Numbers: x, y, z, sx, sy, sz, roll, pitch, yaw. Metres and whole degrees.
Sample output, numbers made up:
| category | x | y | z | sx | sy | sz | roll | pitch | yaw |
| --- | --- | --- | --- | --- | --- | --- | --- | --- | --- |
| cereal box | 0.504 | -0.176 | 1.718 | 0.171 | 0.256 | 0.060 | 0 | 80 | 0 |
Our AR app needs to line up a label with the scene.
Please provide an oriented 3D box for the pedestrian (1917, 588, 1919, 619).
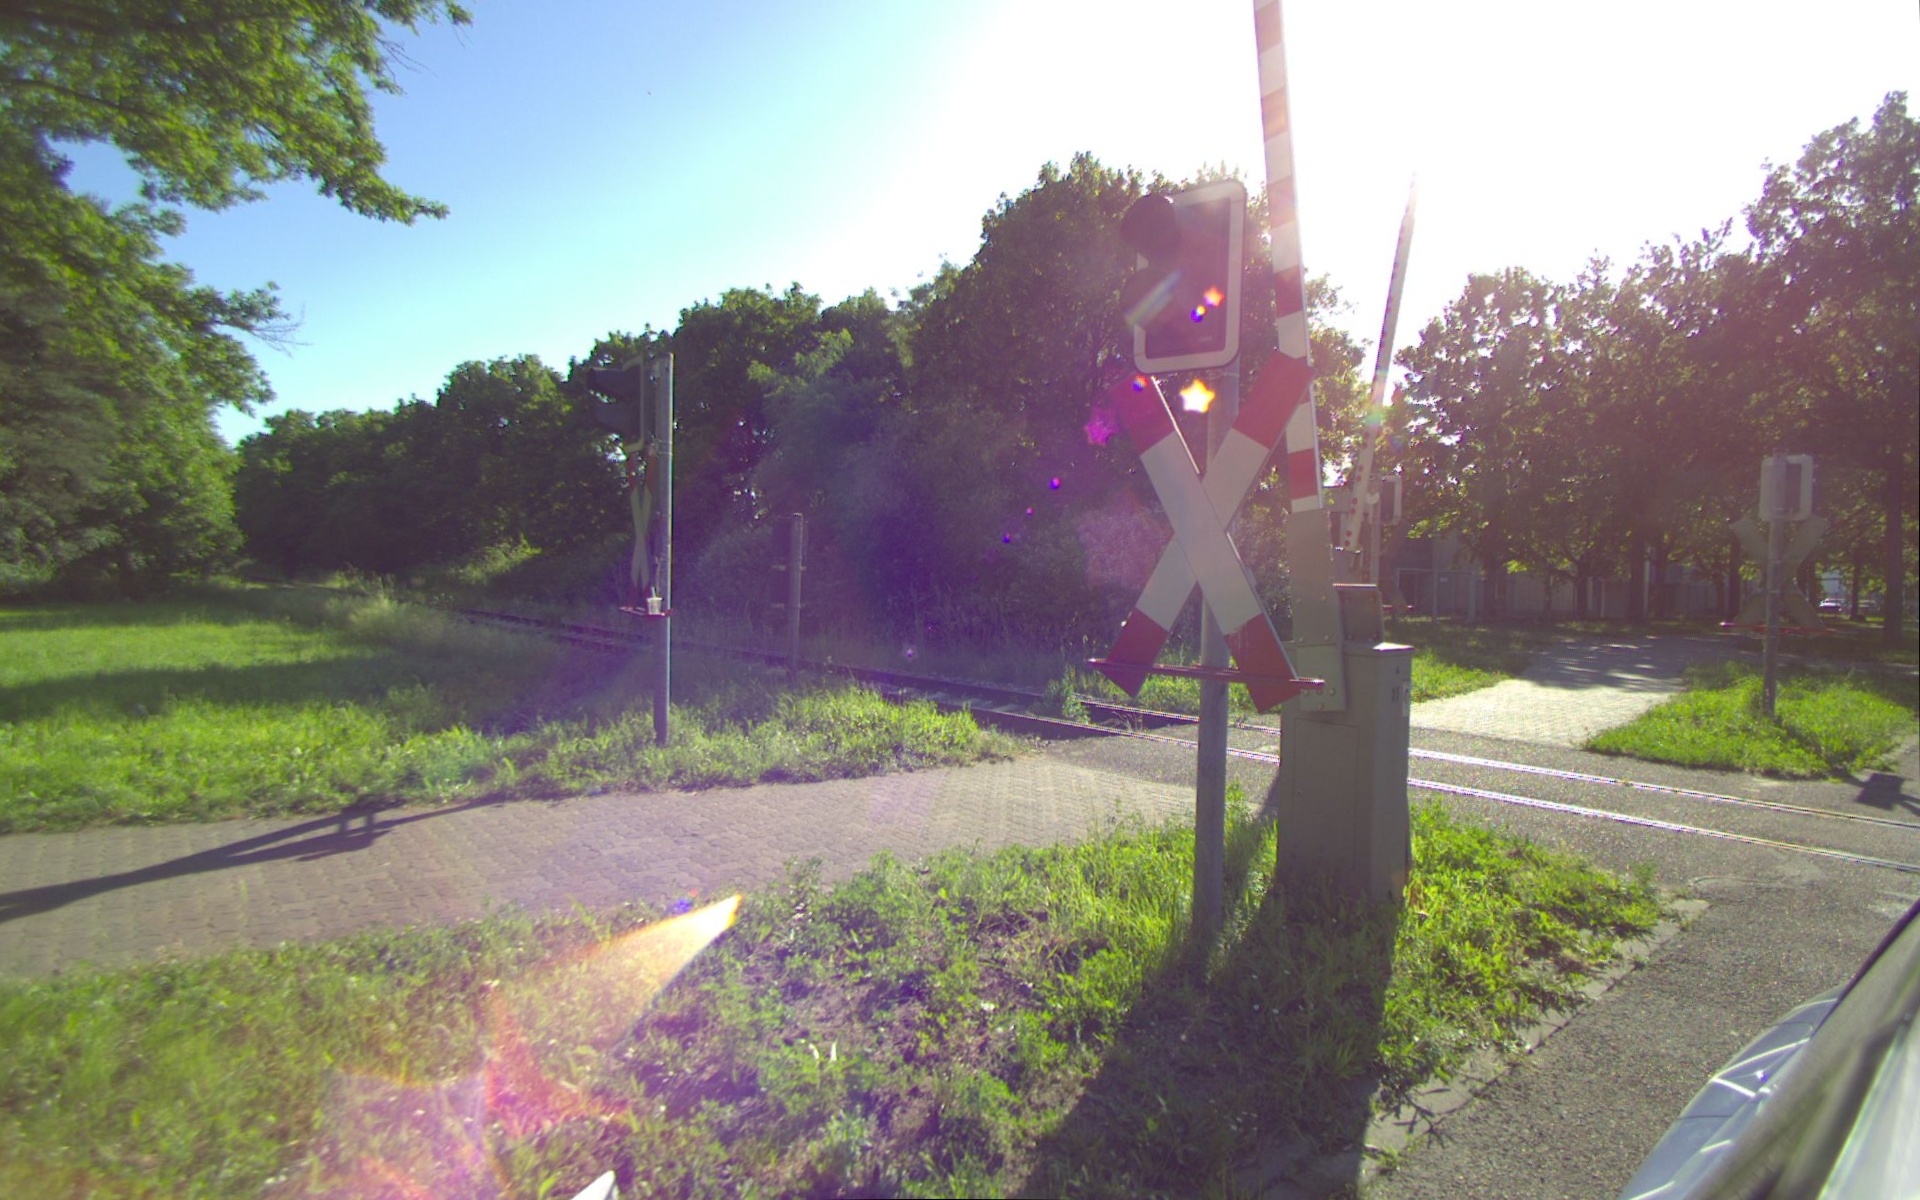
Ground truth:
| category | x | y | z | sx | sy | sz | roll | pitch | yaw |
| --- | --- | --- | --- | --- | --- | --- | --- | --- | --- |
| pedestrian | 52.500 | 0.210 | 54.918 | 0.705 | 1.650 | 0.610 | 1 | 3 | -36 |
